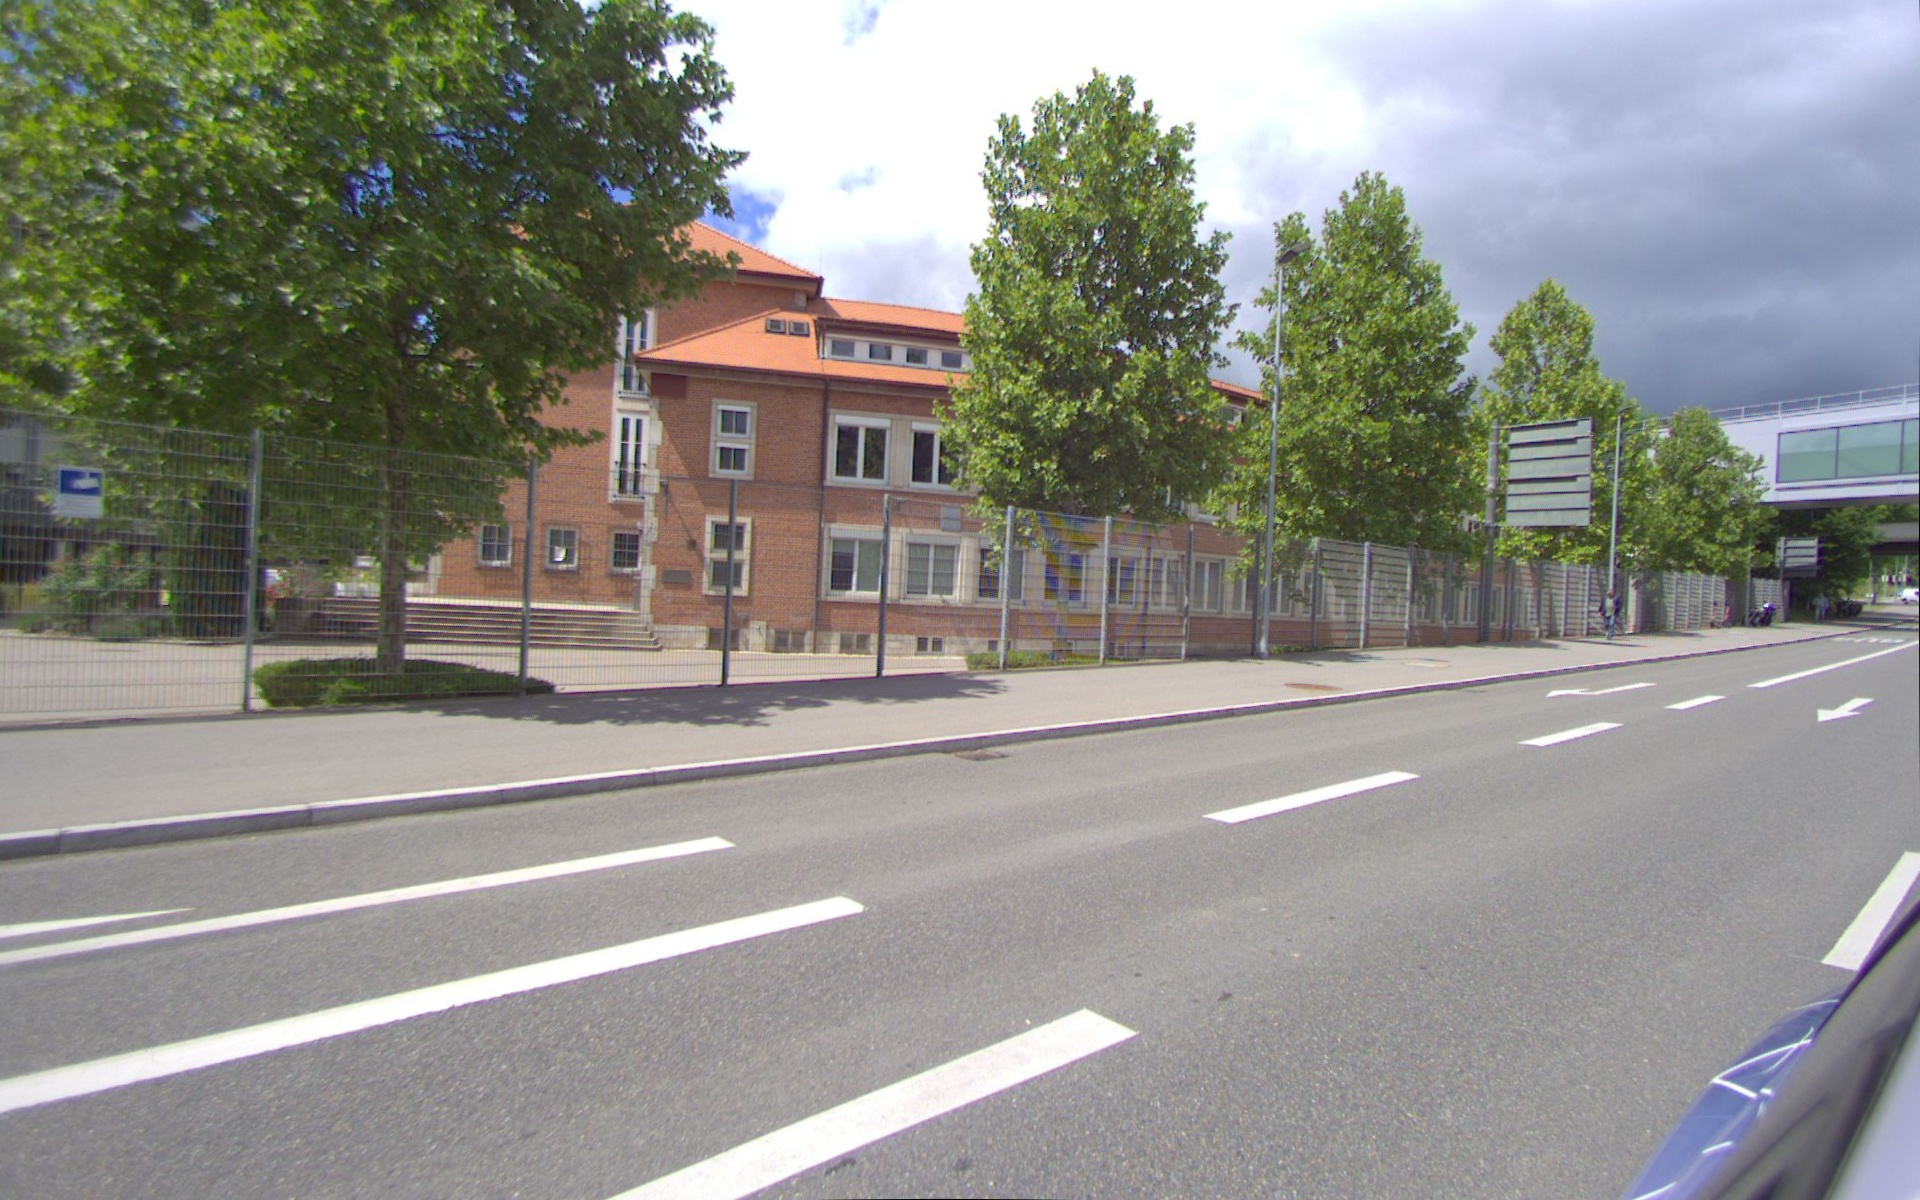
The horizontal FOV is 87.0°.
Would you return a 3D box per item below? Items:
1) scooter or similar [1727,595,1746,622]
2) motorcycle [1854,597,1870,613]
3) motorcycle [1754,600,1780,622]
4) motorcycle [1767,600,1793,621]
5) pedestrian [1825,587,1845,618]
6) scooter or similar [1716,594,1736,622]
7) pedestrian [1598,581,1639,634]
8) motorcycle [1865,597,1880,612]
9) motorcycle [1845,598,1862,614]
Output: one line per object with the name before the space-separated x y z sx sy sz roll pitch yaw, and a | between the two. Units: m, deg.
scooter or similar | 38.416 0.412 50.060 1.314 1.310 0.492 0 2 -42
motorcycle | 67.995 0.352 76.300 2.124 1.157 0.678 0 2 -43
motorcycle | 42.168 0.555 52.898 2.209 1.077 0.669 0 4 -43
motorcycle | 44.496 0.546 54.908 2.467 1.077 0.709 0 4 -43
pedestrian | 54.556 0.155 63.089 1.078 1.911 0.790 0 2 -43
scooter or similar | 36.665 0.395 48.453 1.314 1.310 0.492 0 2 -42
pedestrian | 22.640 0.251 34.800 0.924 1.764 0.879 0 3 -42
motorcycle | 71.120 0.349 78.857 2.144 1.096 0.678 0 2 -43
motorcycle | 66.075 0.418 74.838 2.076 1.169 0.679 0 2 -41
